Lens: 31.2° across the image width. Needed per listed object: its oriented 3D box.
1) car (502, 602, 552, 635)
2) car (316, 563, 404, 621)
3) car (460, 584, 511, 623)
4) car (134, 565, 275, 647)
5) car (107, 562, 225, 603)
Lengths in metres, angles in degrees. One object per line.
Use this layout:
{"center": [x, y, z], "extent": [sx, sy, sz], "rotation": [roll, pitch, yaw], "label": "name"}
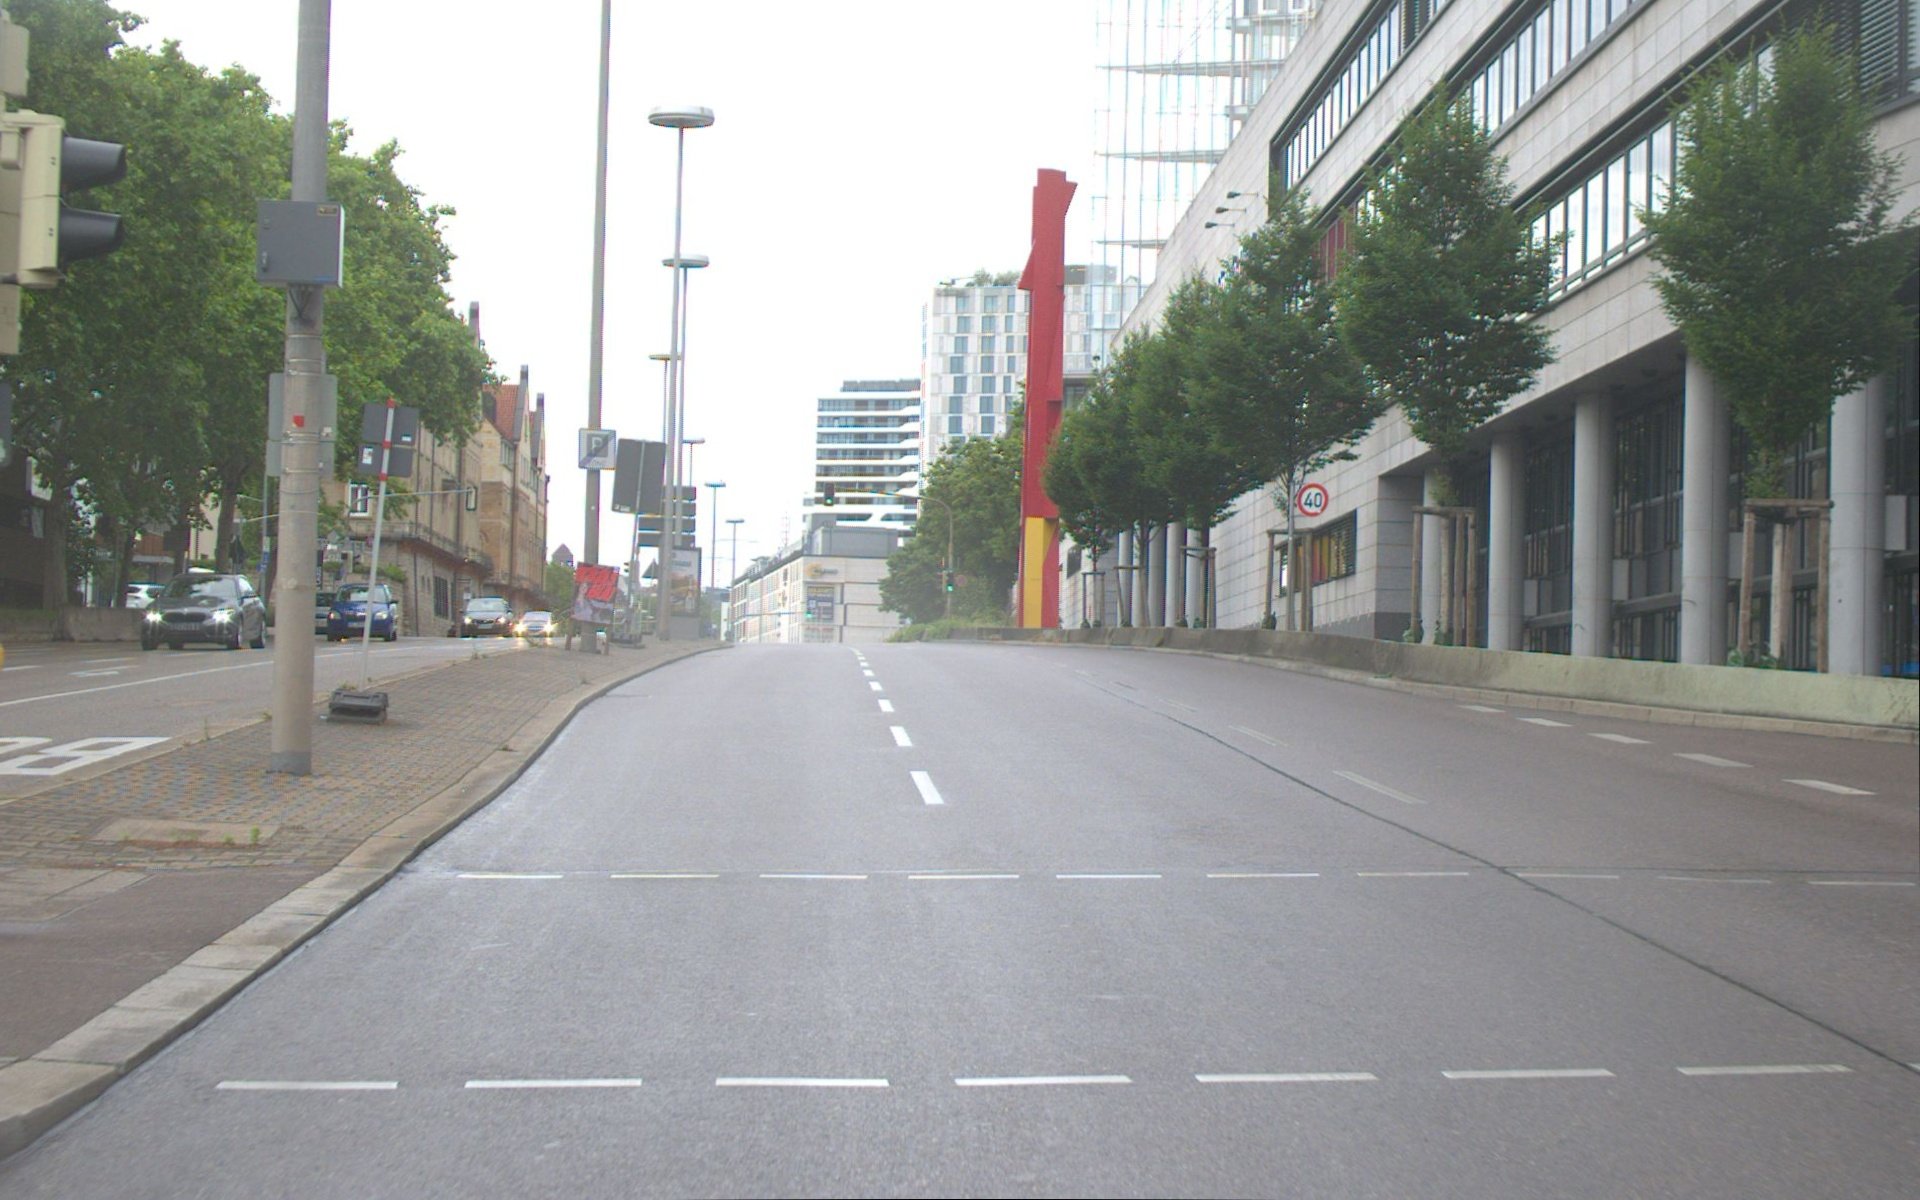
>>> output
{"center": [-20.113, 0.864, 159.735], "extent": [1.819, 1.398, 4.000], "rotation": [-1, -2, 0], "label": "car"}
{"center": [-15.499, -0.206, 88.981], "extent": [1.608, 1.468, 4.068], "rotation": [0, 0, -1], "label": "car"}
{"center": [-17.088, 0.139, 123.961], "extent": [1.686, 1.405, 4.001], "rotation": [0, -1, -6], "label": "car"}
{"center": [-13.795, 0.085, 62.980], "extent": [1.807, 1.444, 4.340], "rotation": [0, 1, -3], "label": "car"}
{"center": [-32.265, -0.683, 139.771], "extent": [1.823, 1.506, 4.568], "rotation": [-2, -2, 36], "label": "car"}
